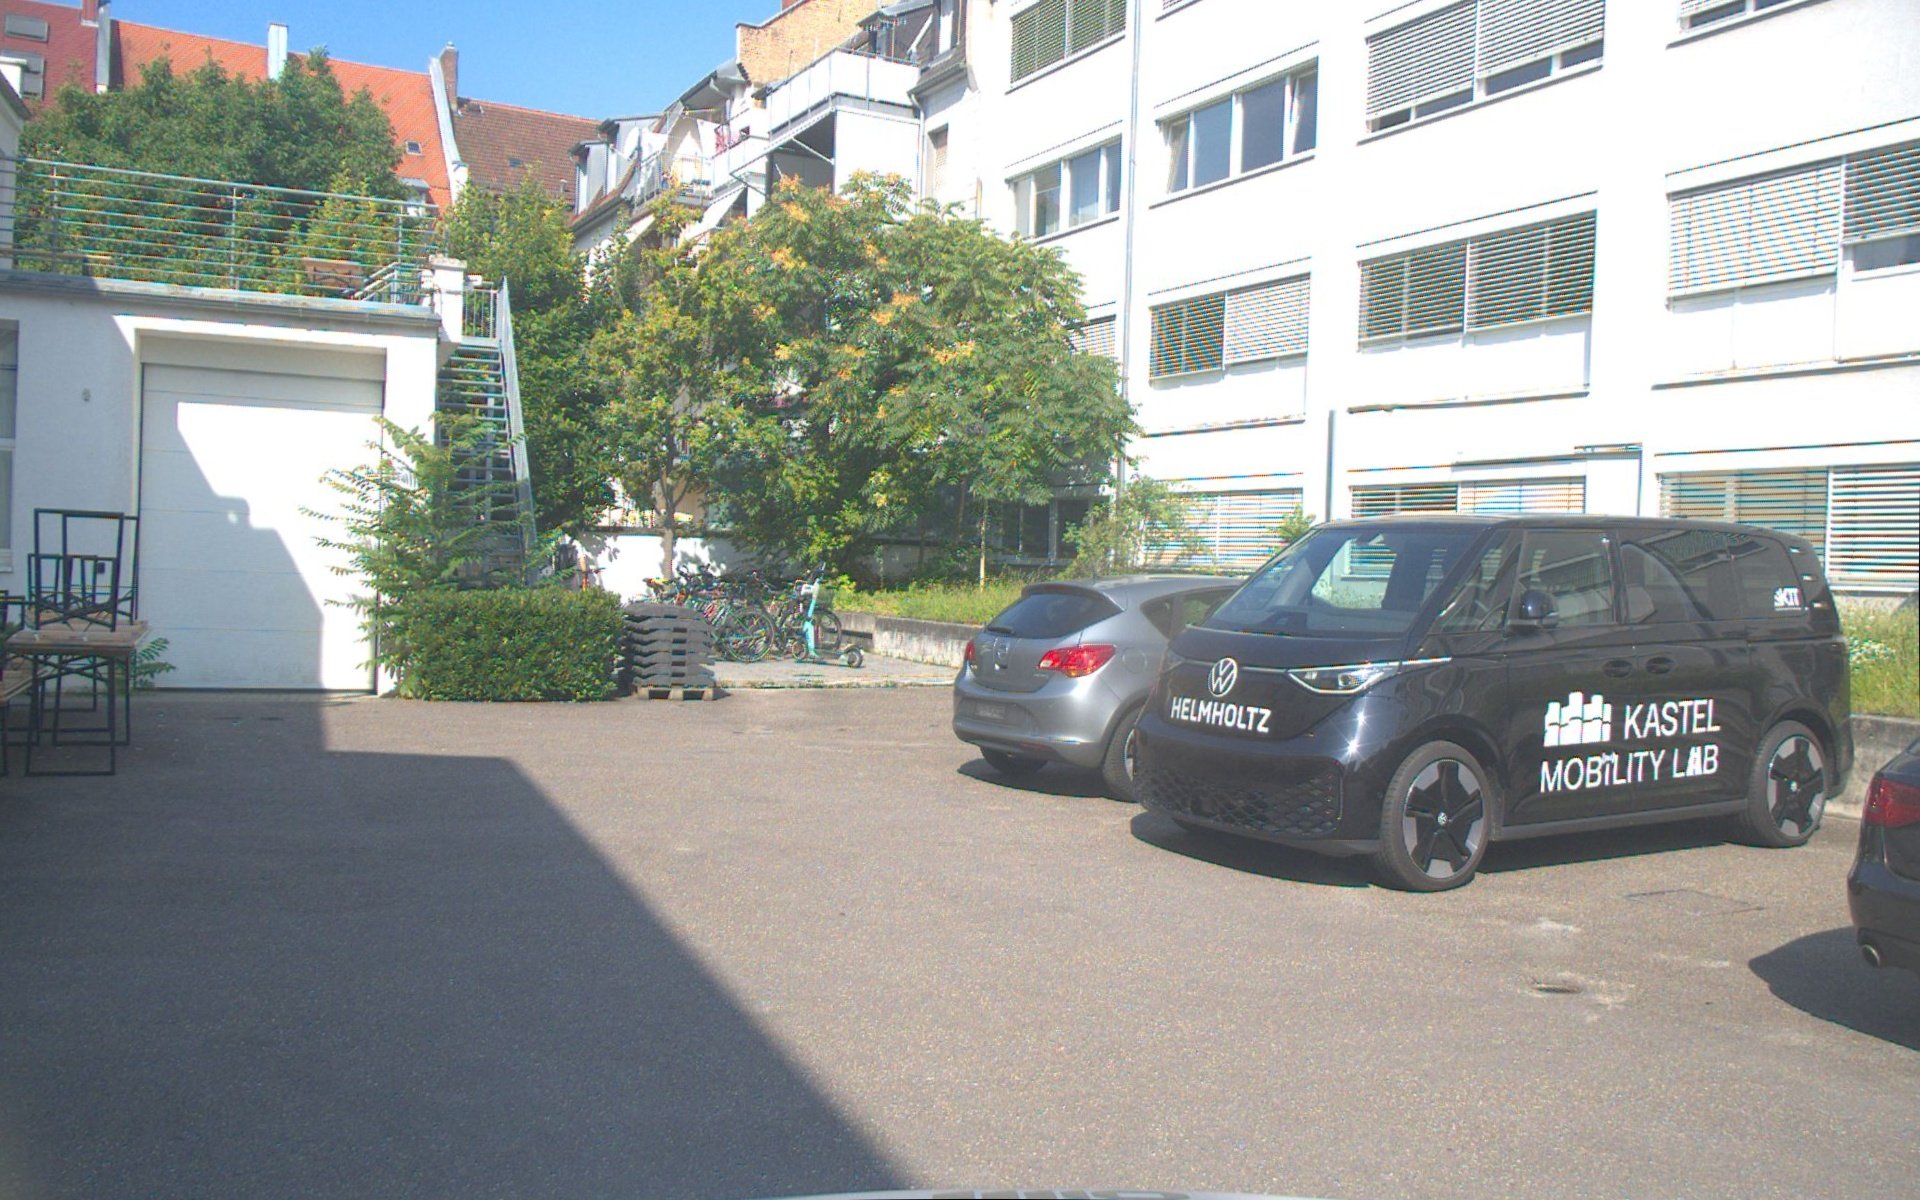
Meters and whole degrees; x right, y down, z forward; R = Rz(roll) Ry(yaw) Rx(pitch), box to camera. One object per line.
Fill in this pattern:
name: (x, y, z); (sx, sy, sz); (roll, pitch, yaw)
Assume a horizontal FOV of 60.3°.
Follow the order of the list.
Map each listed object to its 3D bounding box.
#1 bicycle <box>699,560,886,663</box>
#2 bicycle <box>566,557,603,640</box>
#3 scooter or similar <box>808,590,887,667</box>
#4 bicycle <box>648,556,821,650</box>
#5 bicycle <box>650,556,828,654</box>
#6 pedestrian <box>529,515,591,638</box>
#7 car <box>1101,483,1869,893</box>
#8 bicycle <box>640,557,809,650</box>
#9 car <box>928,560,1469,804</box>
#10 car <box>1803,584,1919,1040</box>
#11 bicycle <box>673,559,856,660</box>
bicycle: (-2.207, 0.166, 21.939); (2.377, 1.268, 0.523); (2, 1, -23)
bicycle: (-5.689, -0.044, 25.018); (0.480, 1.163, 1.986); (1, 2, -15)
scooter or similar: (-1.486, 0.369, 21.794); (0.978, 0.940, 0.359); (3, 1, 31)
bicycle: (-3.247, 0.051, 23.886); (2.377, 1.268, 0.523); (2, 1, -23)
bicycle: (-3.088, 0.079, 23.207); (2.377, 1.268, 0.523); (2, 1, -23)
pedestrian: (-6.056, -0.355, 25.060); (0.843, 1.802, 0.609); (2, 1, -14)
car: (3.116, 0.387, 9.587); (4.292, 1.891, 1.894); (1, 2, -32)
bicycle: (-3.473, 0.058, 24.435); (2.377, 1.268, 0.523); (2, 1, -23)
car: (1.825, 0.512, 12.153); (3.865, 1.491, 1.642); (0, 2, -36)
car: (5.185, 0.739, 5.835); (4.177, 1.462, 1.678); (1, 2, -24)
bicycle: (-2.652, 0.137, 22.488); (2.377, 1.268, 0.523); (2, 1, -23)
